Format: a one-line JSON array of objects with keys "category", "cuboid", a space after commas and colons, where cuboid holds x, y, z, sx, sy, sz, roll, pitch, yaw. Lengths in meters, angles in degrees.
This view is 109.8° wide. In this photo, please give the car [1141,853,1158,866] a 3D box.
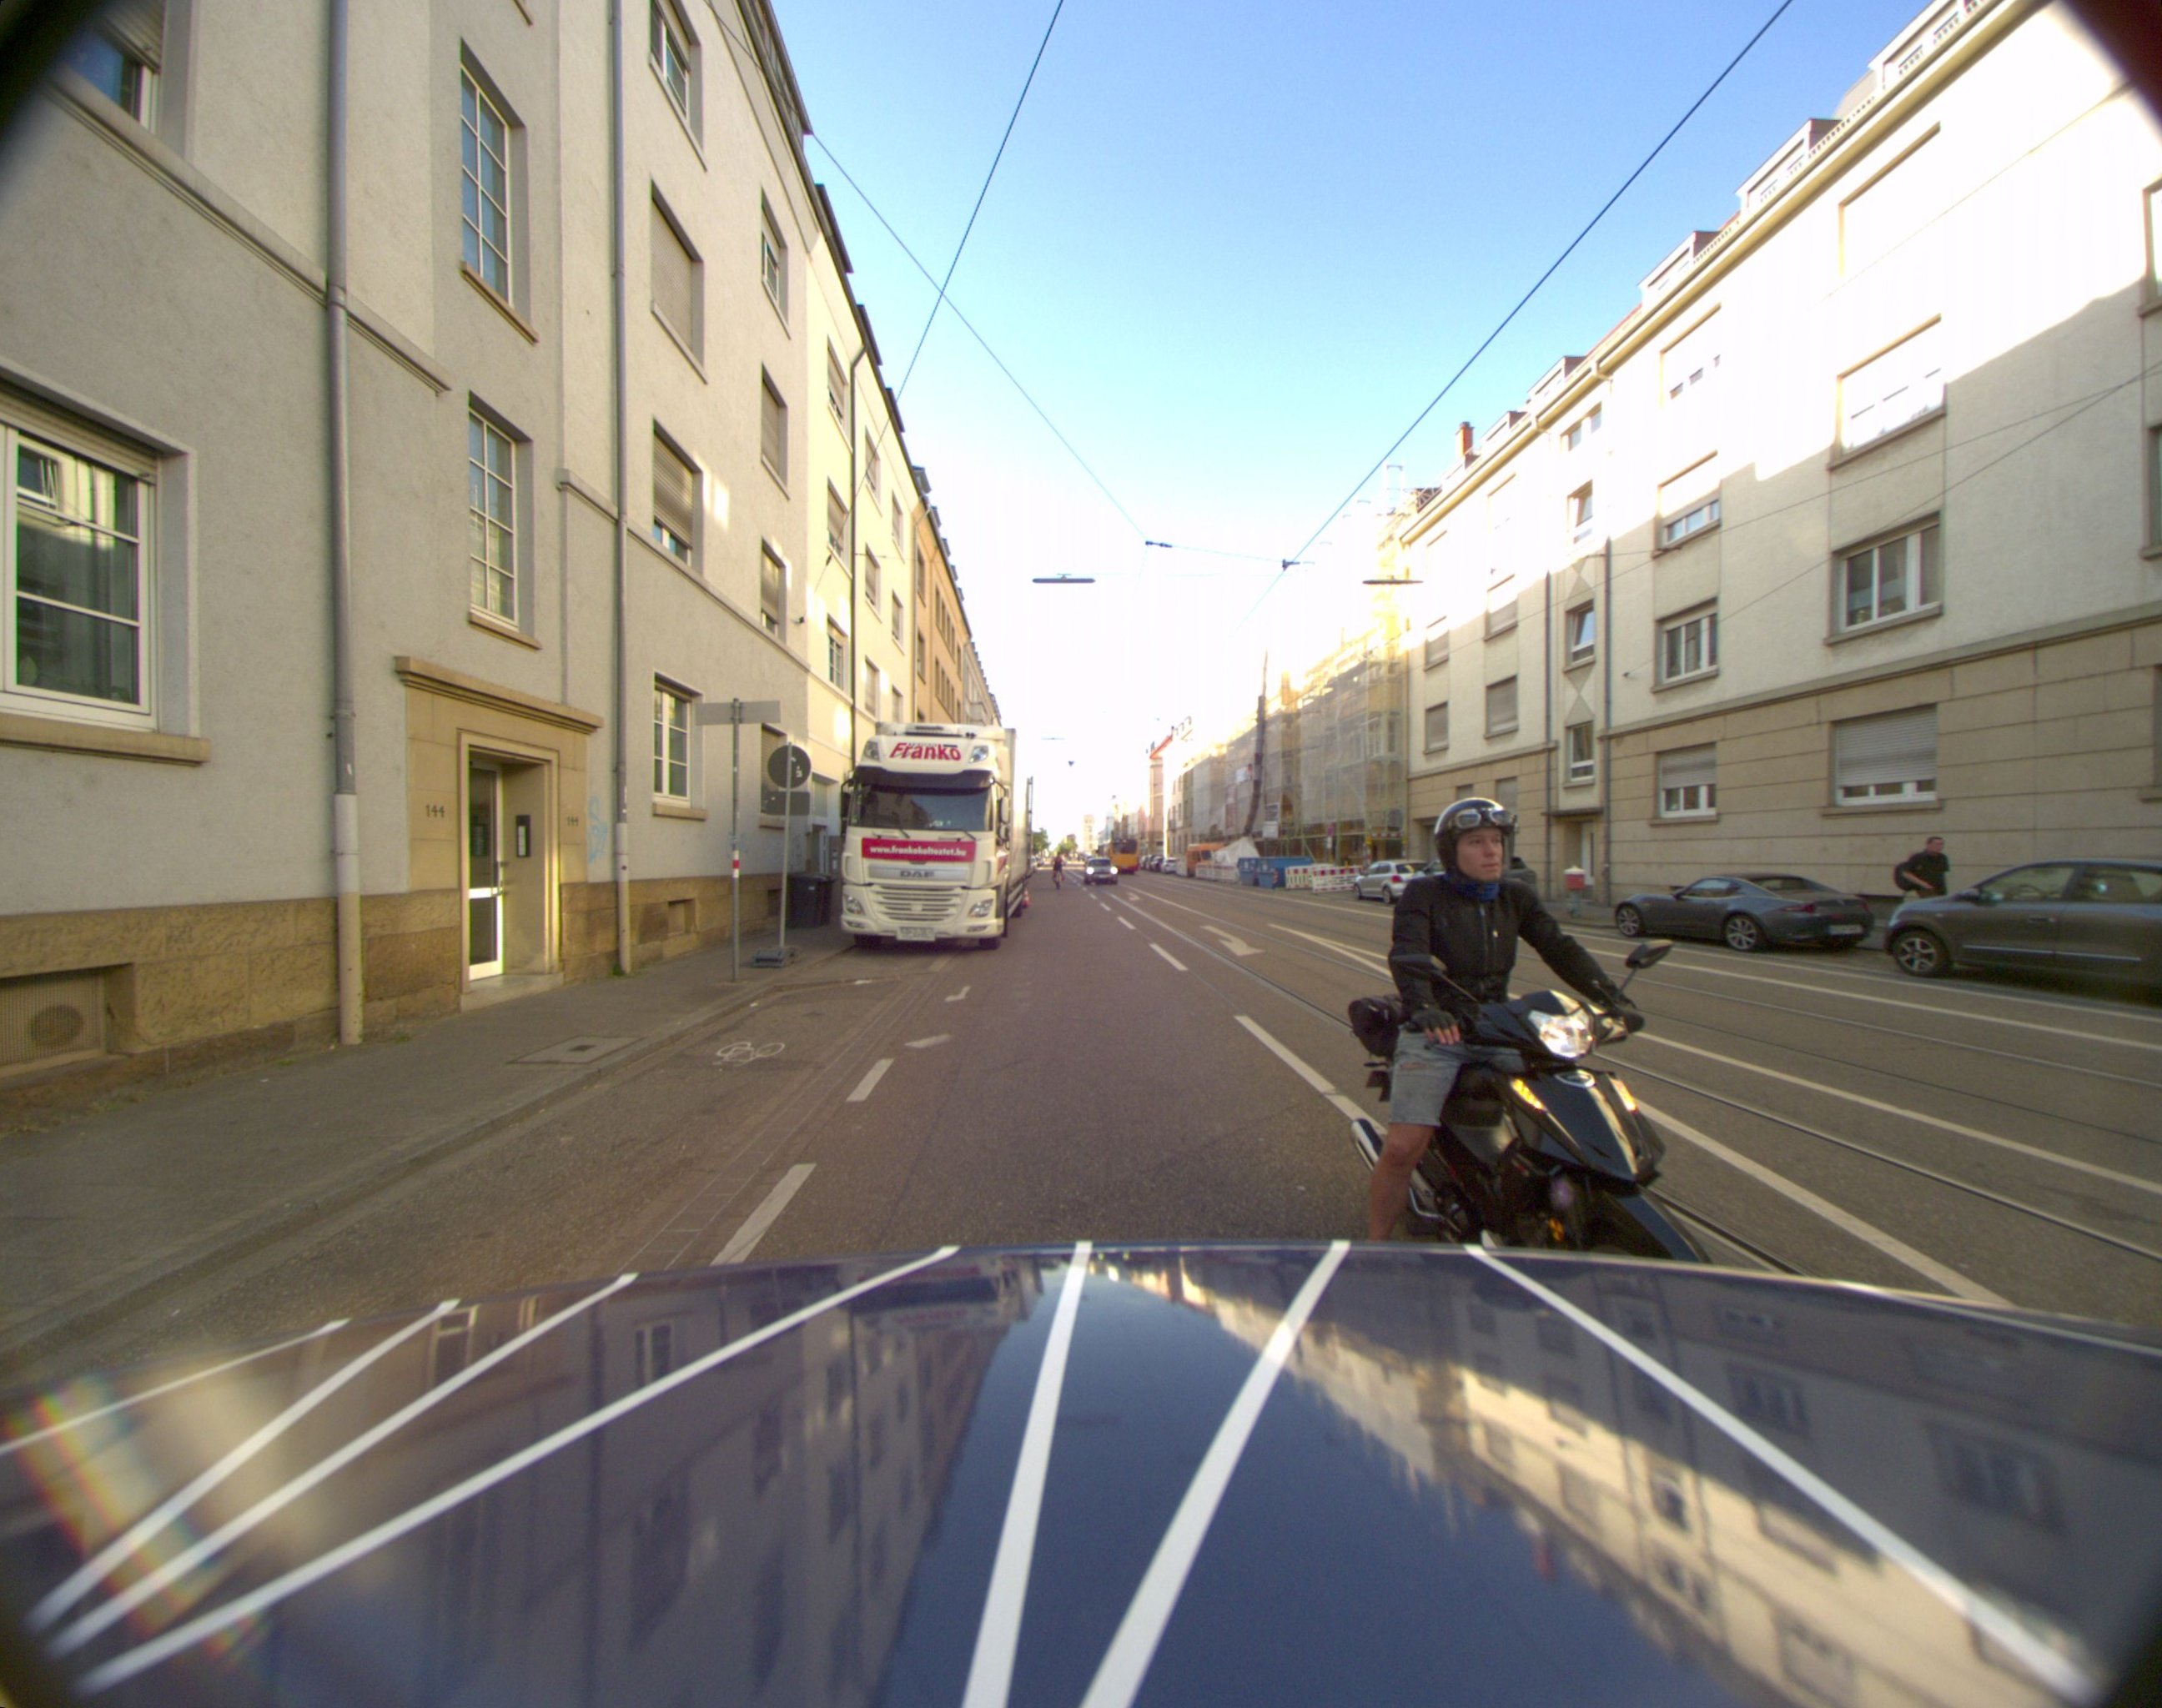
[{"category": "car", "cuboid": [7.929, 0.645, 87.869, 1.684, 1.478, 3.966, -2, 0, 1]}]

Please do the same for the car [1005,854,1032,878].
[{"category": "car", "cuboid": [-4.306, 0.823, 52.979, 1.685, 1.522, 4.148, -2, 0, -3]}]

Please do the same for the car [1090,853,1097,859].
[{"category": "car", "cuboid": [3.303, 0.573, 206.879, 1.684, 1.478, 3.965, -2, 0, -1]}]

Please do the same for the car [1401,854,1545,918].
[{"category": "car", "cuboid": [10.808, 0.801, 21.320, 1.696, 1.590, 4.206, -1, 0, -3]}]

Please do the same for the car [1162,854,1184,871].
[{"category": "car", "cuboid": [8.568, 0.753, 71.102, 1.684, 1.478, 3.966, -2, 0, 1]}]

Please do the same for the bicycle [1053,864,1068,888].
[{"category": "bicycle", "cuboid": [-0.976, 1.037, 36.441, 0.618, 1.097, 1.885, 0, 0, -4]}]

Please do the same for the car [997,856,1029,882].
[{"category": "car", "cuboid": [-4.179, 0.891, 47.176, 1.685, 1.522, 4.148, -2, 0, -3]}]

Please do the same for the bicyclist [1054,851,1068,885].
[{"category": "bicyclist", "cuboid": [-0.973, 0.655, 36.454, 0.618, 1.620, 0.759, 0, 1, -4]}]

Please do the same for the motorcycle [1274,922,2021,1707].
[{"category": "motorcycle", "cuboid": [1.307, 0.970, 2.509, 0.791, 1.284, 2.273, 0, 0, 1]}]

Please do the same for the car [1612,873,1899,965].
[{"category": "car", "cuboid": [11.177, 0.996, 12.971, 1.520, 1.227, 3.685, -1, 0, -3]}]

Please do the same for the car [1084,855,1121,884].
[{"category": "car", "cuboid": [1.158, 0.824, 41.974, 1.685, 1.454, 4.148, -2, 0, -3]}]

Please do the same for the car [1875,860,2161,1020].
[{"category": "car", "cuboid": [11.414, 0.856, 8.309, 1.679, 1.519, 3.539, -1, 0, -3]}]

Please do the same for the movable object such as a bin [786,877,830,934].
[{"category": "movable object such as a bin", "cuboid": [-5.386, 1.003, 15.029, 0.666, 1.087, 0.570, 0, 1, -2]}]

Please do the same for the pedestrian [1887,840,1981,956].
[{"category": "pedestrian", "cuboid": [12.975, 0.650, 11.580, 0.605, 1.699, 0.730, 0, 1, -2]}]

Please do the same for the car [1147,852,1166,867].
[{"category": "car", "cuboid": [8.241, 0.608, 83.173, 1.684, 1.573, 3.966, -2, 0, 1]}]

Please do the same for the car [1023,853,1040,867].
[{"category": "car", "cuboid": [-5.355, 0.641, 82.733, 1.685, 1.522, 4.148, -2, 0, -3]}]

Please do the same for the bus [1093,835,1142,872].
[{"category": "bus", "cuboid": [3.266, -0.070, 73.983, 2.755, 3.095, 19.156, 0, 0, -3]}]

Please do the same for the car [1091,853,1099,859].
[{"category": "car", "cuboid": [3.529, 0.593, 191.735, 1.684, 1.478, 3.965, -2, 0, -1]}]

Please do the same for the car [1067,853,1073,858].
[{"category": "car", "cuboid": [-3.658, 0.516, 251.898, 1.999, 1.838, 3.998, 0, 0, -4]}]

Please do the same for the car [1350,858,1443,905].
[{"category": "car", "cuboid": [10.607, 0.876, 25.769, 1.543, 1.404, 3.510, -1, 0, -3]}]

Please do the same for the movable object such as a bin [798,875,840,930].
[{"category": "movable object such as a bin", "cuboid": [-5.402, 0.995, 15.698, 0.666, 1.087, 0.570, 0, 1, -2]}]

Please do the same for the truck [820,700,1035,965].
[{"category": "truck", "cuboid": [-2.628, -0.325, 17.170, 2.782, 3.903, 11.816, 0, 0, -2]}]

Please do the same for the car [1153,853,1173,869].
[{"category": "car", "cuboid": [8.262, 0.697, 76.799, 1.684, 1.478, 3.966, -2, 0, 1]}]

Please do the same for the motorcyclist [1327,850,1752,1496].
[{"category": "motorcyclist", "cuboid": [1.306, 0.814, 2.380, 0.791, 1.645, 0.900, 0, 1, 1]}]

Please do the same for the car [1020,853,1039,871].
[{"category": "car", "cuboid": [-4.860, 0.741, 72.087, 1.685, 1.522, 4.148, -2, 0, -3]}]

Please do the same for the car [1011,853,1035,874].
[{"category": "car", "cuboid": [-4.514, 0.740, 59.147, 1.685, 1.522, 4.148, -2, 0, -3]}]
